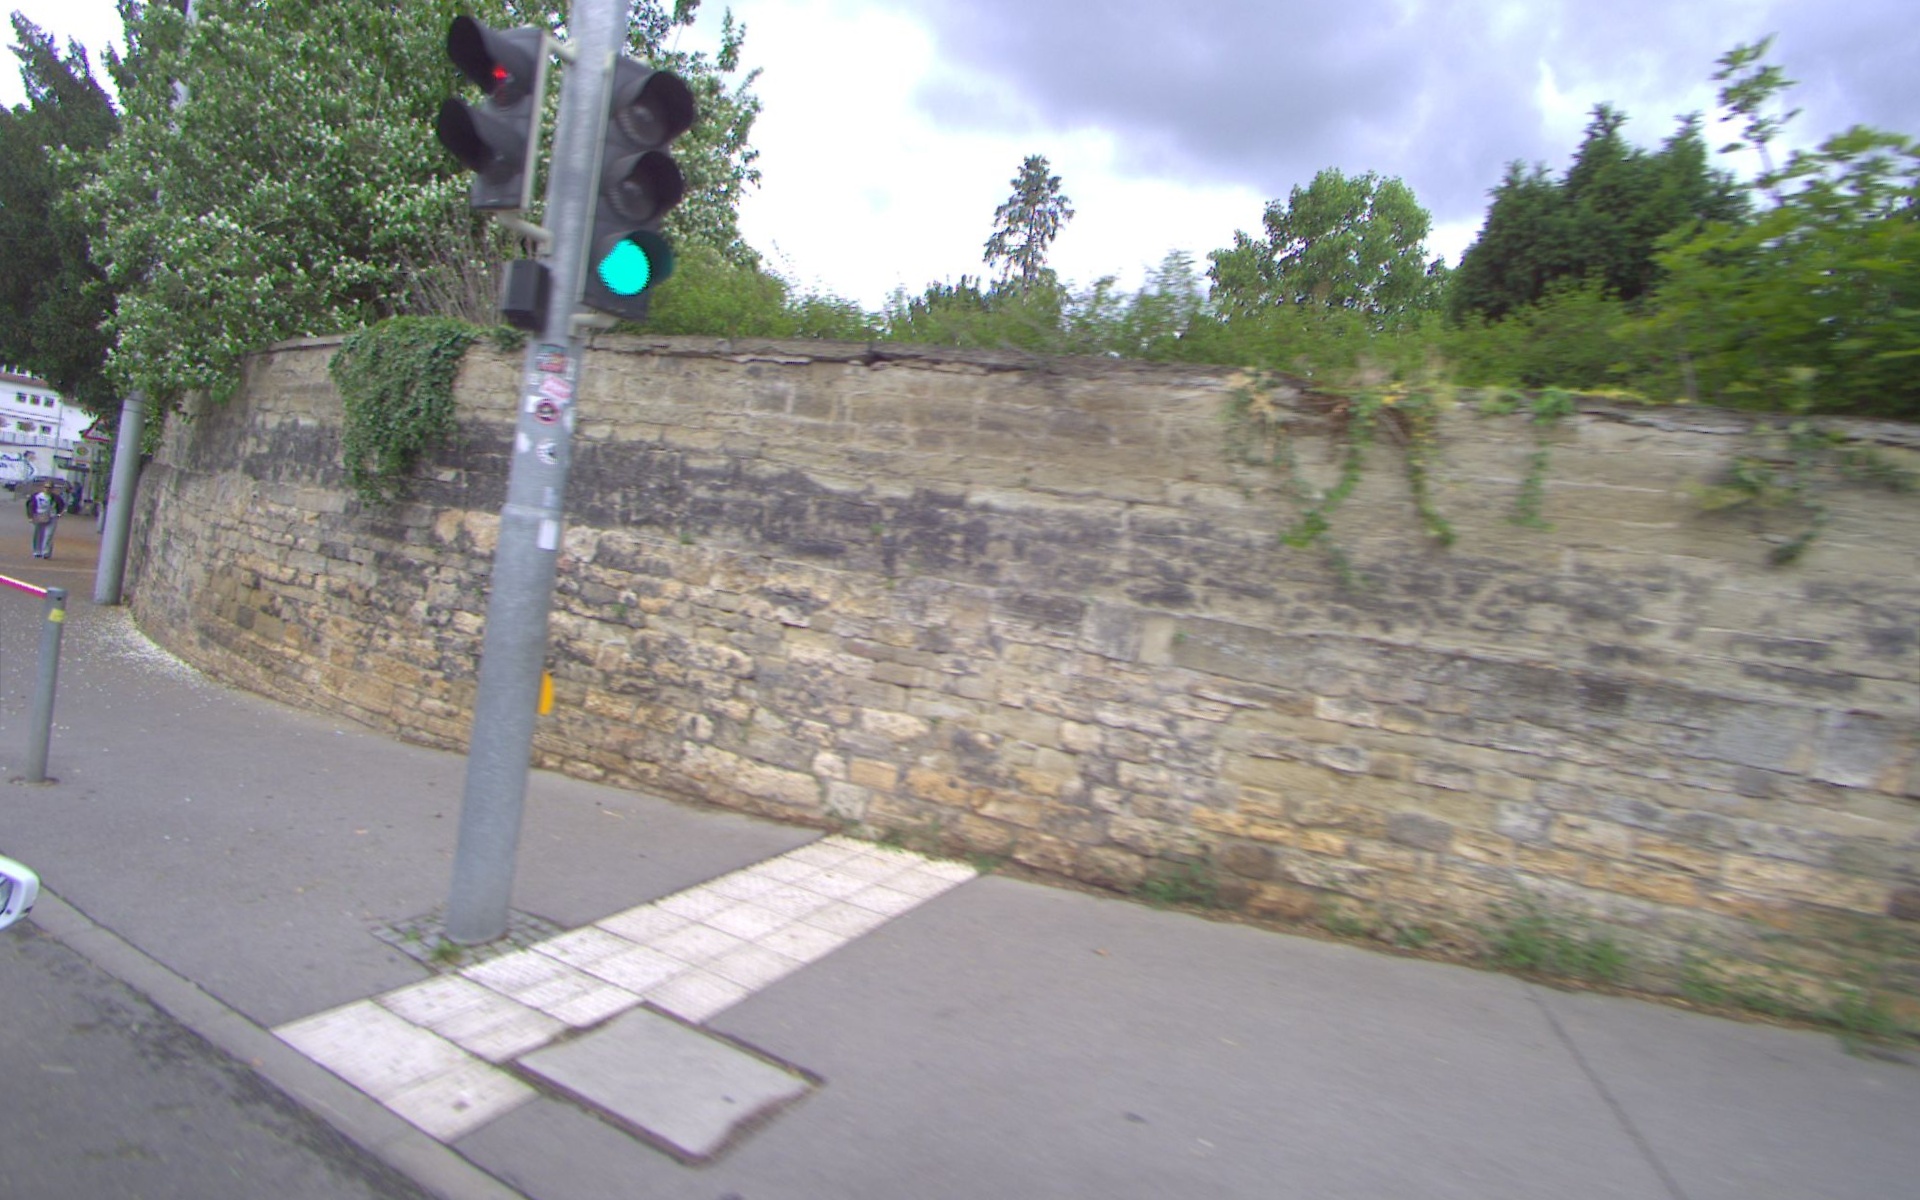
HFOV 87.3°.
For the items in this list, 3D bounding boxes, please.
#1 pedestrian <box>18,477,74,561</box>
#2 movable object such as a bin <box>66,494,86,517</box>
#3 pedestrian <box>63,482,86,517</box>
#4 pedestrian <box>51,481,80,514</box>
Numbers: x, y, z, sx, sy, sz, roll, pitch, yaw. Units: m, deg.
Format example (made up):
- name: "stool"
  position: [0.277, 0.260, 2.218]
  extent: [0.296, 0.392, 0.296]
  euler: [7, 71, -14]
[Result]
- name: "pedestrian"
  position: [-18.666, -1.645, 20.546]
  extent: [0.729, 1.596, 0.734]
  euler: [5, 3, -44]
- name: "movable object such as a bin"
  position: [-45.240, -4.830, 51.482]
  extent: [0.618, 1.033, 0.673]
  euler: [9, 2, 43]
- name: "pedestrian"
  position: [-45.728, -5.202, 51.945]
  extent: [0.622, 1.663, 0.719]
  euler: [8, 1, 44]
- name: "pedestrian"
  position: [-47.414, -5.431, 53.300]
  extent: [0.724, 1.609, 0.772]
  euler: [7, 2, 0]
